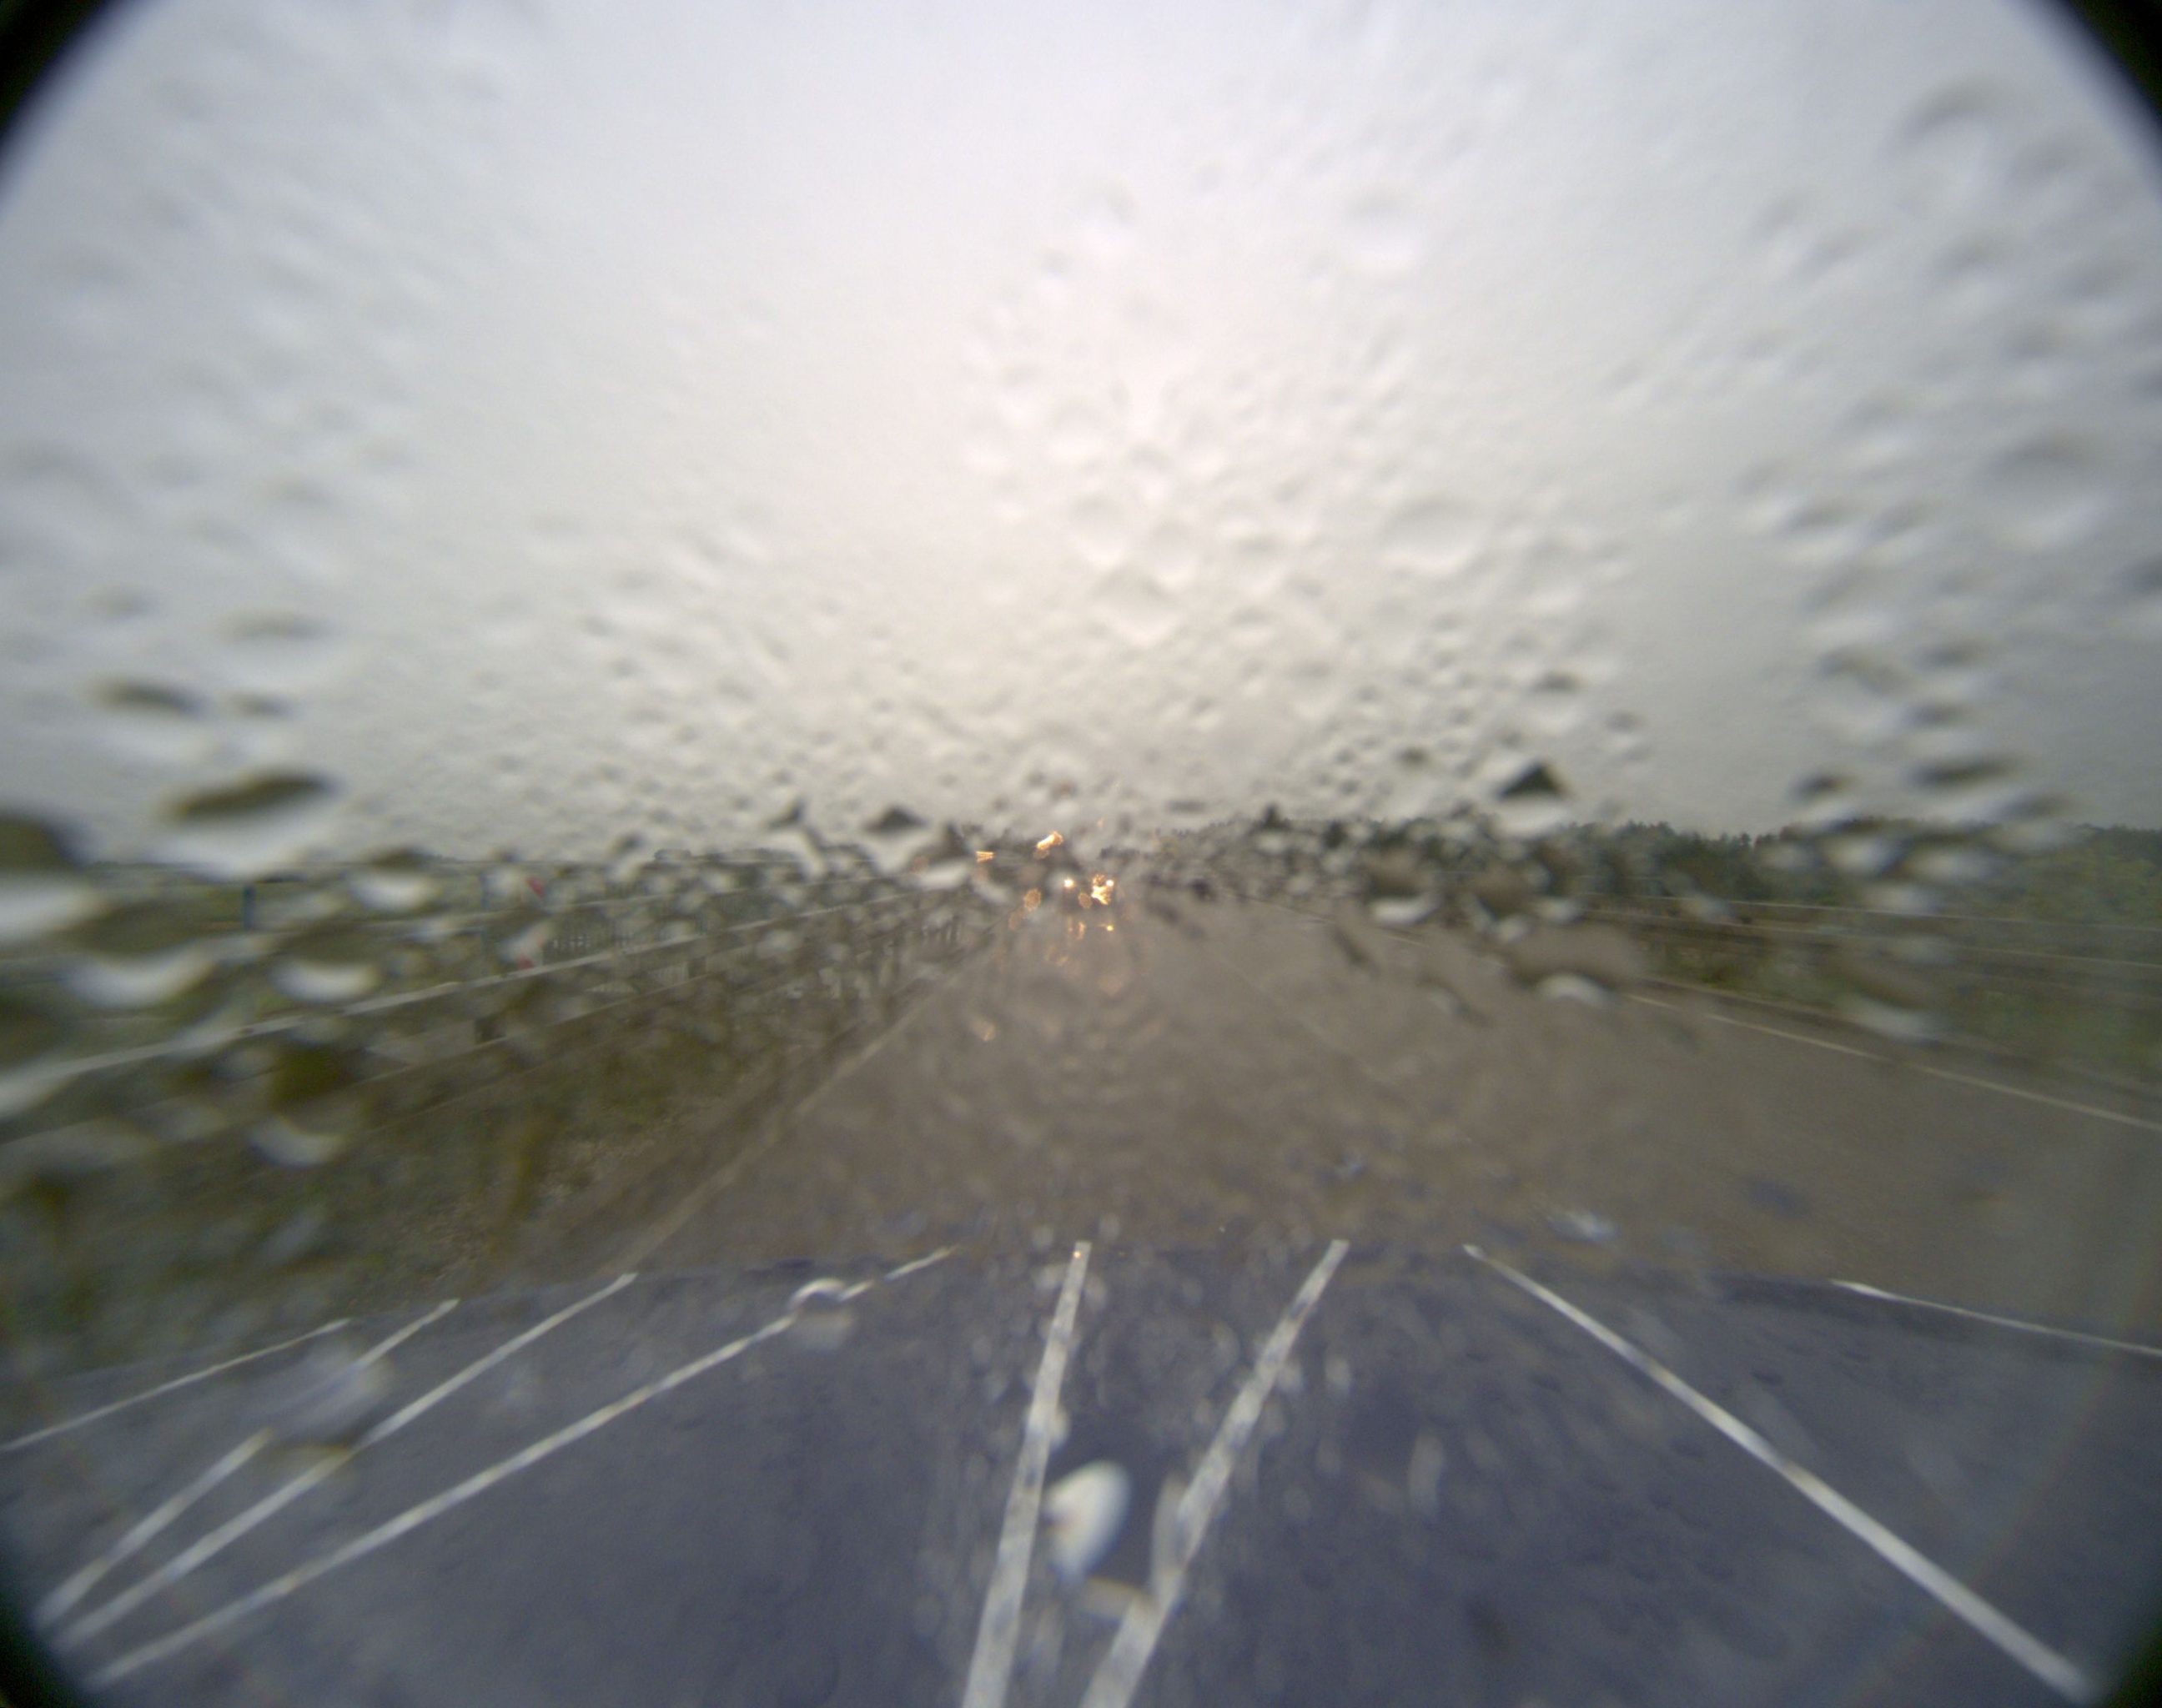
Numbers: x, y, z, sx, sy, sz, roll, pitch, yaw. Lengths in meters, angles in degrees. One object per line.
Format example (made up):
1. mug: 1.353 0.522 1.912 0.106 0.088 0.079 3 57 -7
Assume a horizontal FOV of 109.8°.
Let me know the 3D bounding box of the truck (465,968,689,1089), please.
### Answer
1. truck: -19.700 6.759 30.158 6.822 3.944 2.880 0 -1 -11

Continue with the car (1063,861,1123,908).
1. car: 0.393 0.972 25.476 1.819 1.382 4.069 -2 0 0

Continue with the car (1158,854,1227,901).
1. car: 3.900 0.787 27.097 1.843 1.528 4.069 0 0 0

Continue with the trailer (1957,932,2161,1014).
1. trailer: 60.666 7.086 46.317 14.373 4.193 2.879 0 -1 -12

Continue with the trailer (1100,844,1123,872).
1. trailer: 4.462 0.700 114.031 2.825 3.946 13.737 0 -1 0

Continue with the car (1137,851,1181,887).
1. car: 4.214 0.795 41.948 2.071 1.826 4.932 0 0 2

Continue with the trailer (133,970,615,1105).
1. trailer: -26.078 6.744 28.948 14.026 3.944 2.880 0 -1 -11

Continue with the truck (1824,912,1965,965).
1. truck: 68.026 6.985 63.568 10.646 3.847 2.783 0 1 -11

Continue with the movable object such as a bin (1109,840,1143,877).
1. movable object such as a bin: 4.139 0.430 71.282 2.756 3.425 4.642 0 0 -2
